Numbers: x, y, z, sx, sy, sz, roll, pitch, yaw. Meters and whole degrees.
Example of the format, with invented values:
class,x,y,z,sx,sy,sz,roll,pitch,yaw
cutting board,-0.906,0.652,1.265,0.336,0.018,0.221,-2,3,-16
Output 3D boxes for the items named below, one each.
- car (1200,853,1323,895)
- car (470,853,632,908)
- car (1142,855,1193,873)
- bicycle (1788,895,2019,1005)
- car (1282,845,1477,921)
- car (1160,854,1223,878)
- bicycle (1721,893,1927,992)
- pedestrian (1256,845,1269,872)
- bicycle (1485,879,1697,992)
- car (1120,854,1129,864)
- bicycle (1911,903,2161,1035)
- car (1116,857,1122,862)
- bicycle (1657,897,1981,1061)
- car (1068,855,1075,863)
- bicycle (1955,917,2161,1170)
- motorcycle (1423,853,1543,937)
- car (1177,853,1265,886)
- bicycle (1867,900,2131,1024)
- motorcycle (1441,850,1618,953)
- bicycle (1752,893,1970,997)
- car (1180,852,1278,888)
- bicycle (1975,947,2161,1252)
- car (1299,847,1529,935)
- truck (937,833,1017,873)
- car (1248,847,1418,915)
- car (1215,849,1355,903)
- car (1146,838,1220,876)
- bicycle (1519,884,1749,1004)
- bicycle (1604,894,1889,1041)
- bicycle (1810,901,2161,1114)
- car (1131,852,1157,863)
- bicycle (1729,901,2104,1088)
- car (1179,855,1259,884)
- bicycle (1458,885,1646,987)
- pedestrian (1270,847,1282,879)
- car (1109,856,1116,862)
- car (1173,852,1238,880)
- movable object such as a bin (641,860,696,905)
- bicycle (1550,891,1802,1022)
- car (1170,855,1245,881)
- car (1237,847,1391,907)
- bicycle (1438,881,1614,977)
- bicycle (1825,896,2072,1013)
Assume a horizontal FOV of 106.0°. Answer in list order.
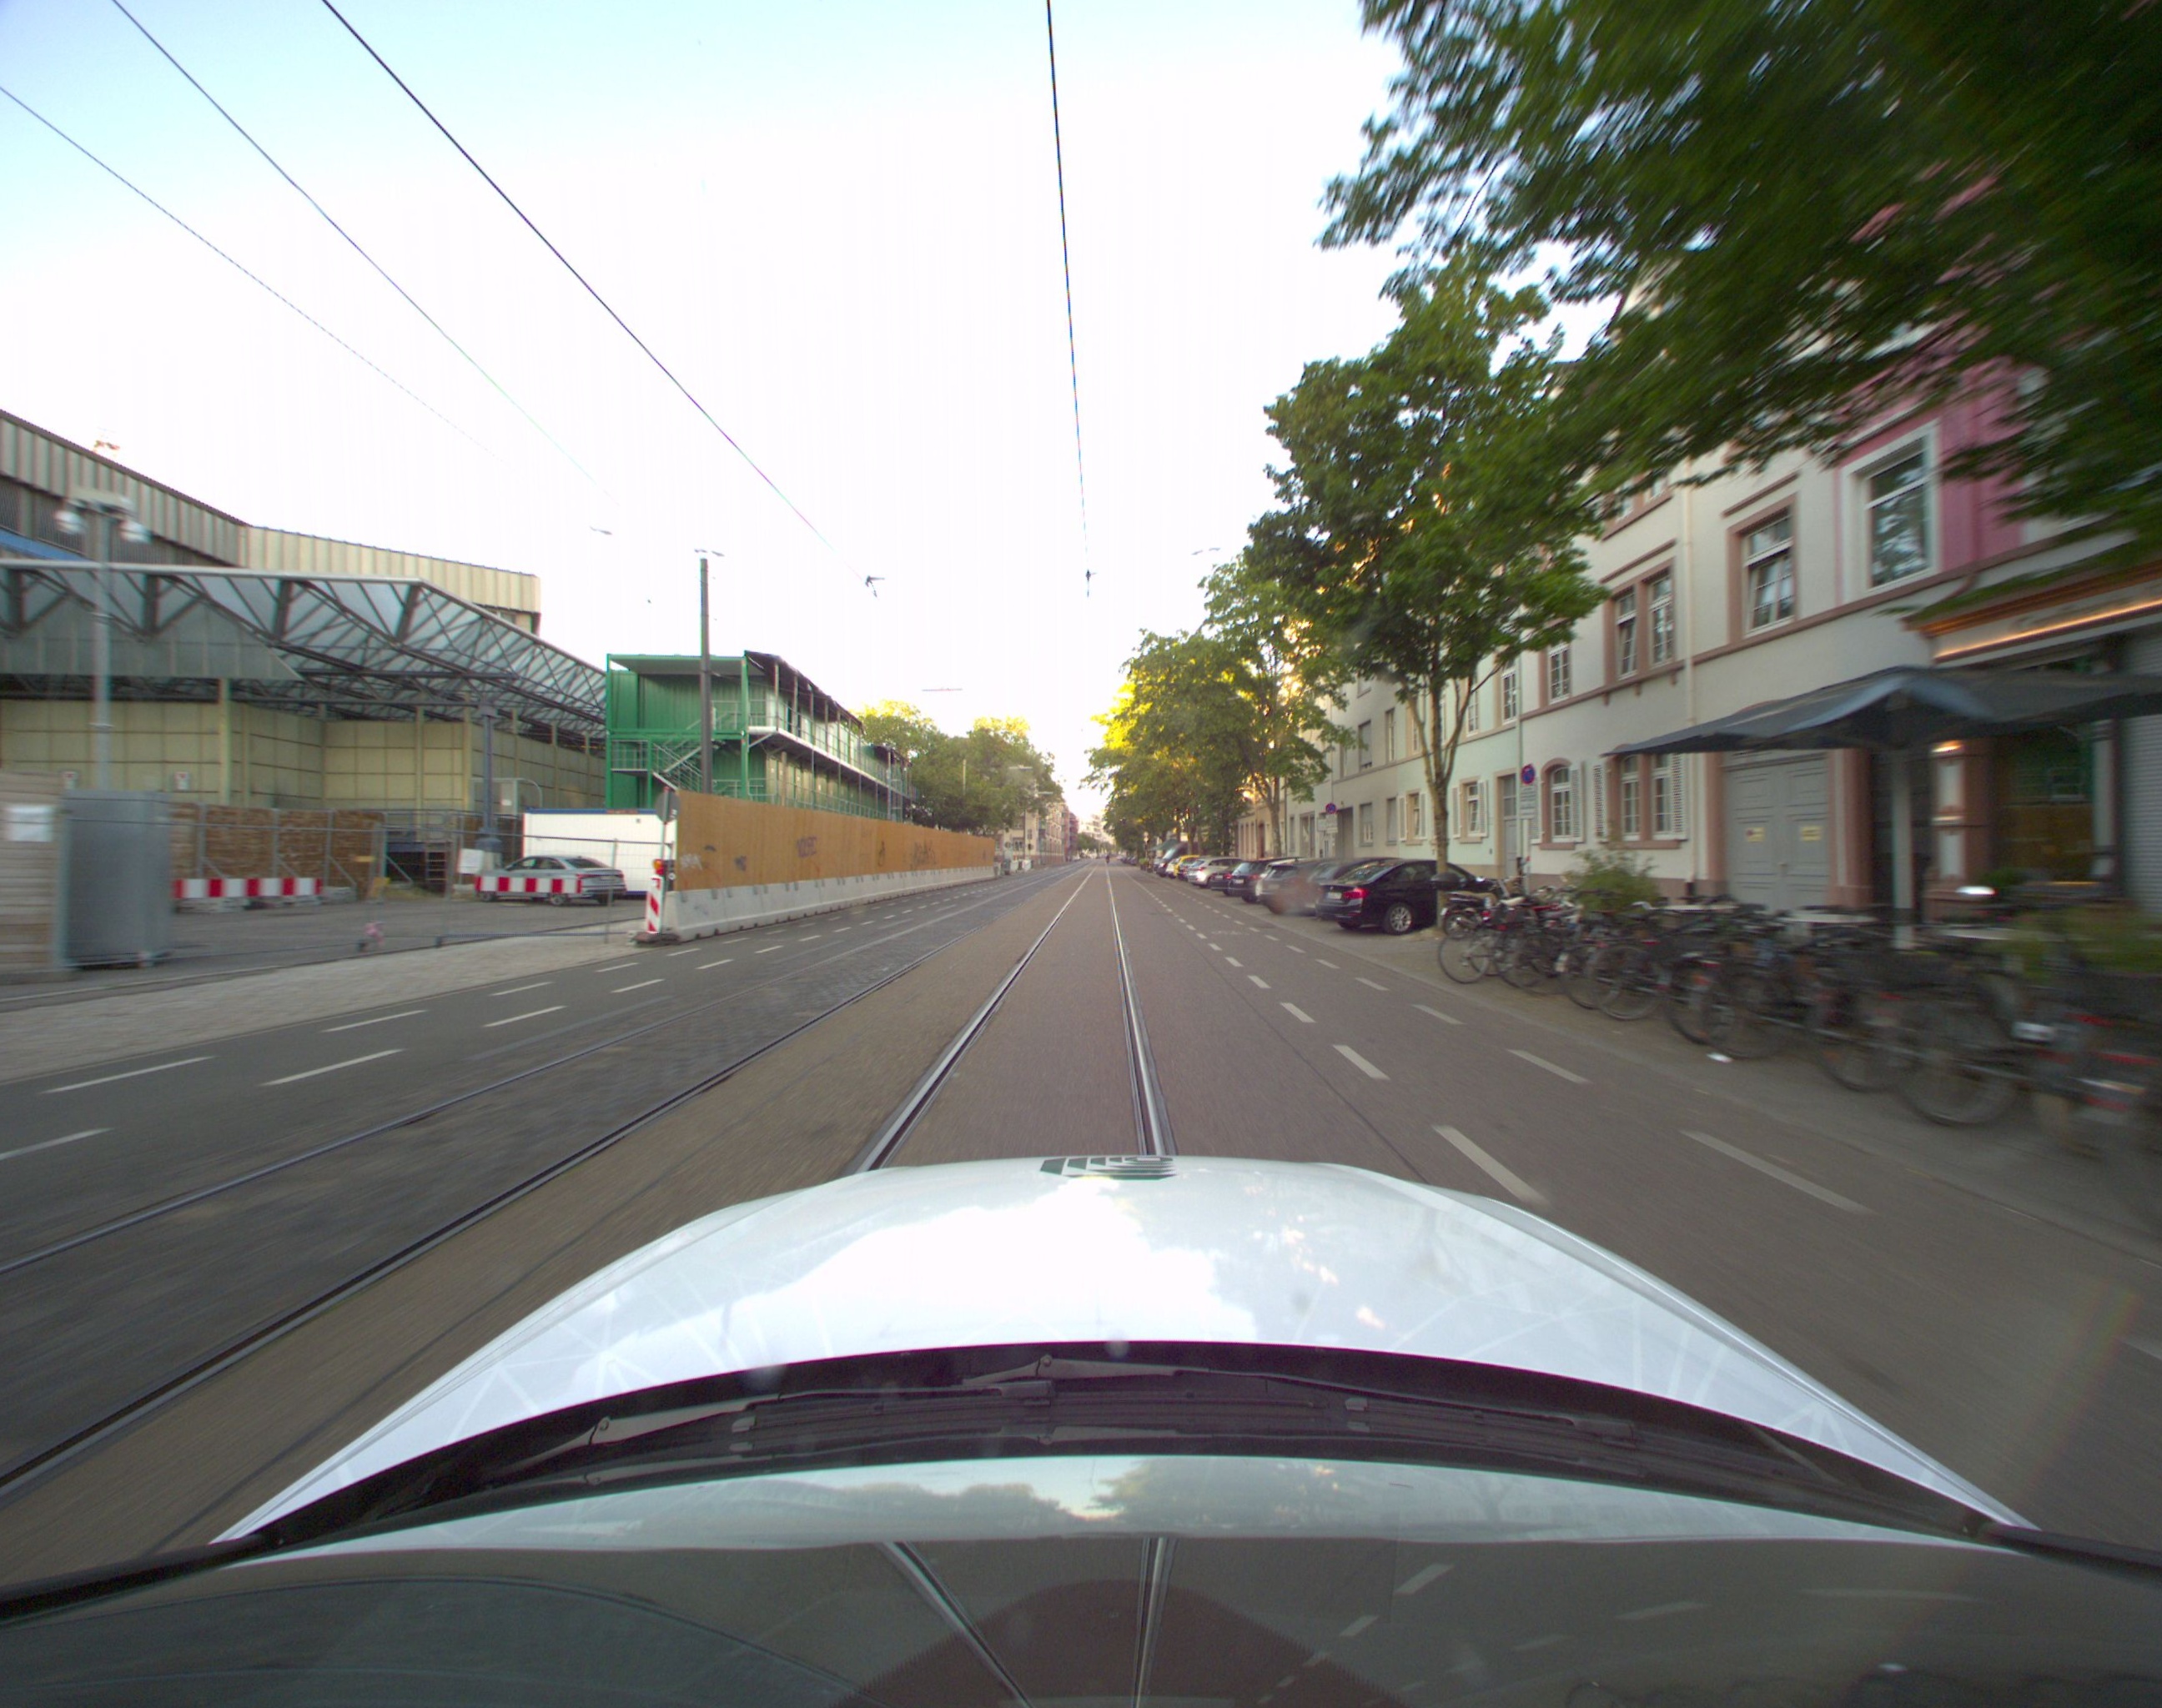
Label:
class,x,y,z,sx,sy,sz,roll,pitch,yaw
car,7.028,0.755,31.745,4.268,1.392,2.001,-2,0,-22
car,-15.412,0.736,23.725,3.965,1.402,1.743,2,0,16
car,7.908,0.937,74.817,4.193,1.498,1.993,-1,-1,-23
bicycle,7.675,0.887,7.620,1.810,0.872,0.325,-4,0,-1
car,7.156,0.663,19.664,3.956,1.470,1.991,-4,0,-15
car,7.735,0.836,56.970,3.967,1.486,1.906,-2,-1,-23
bicycle,7.683,0.909,8.443,1.810,0.872,0.325,-4,0,-1
pedestrian,10.449,0.263,46.894,0.536,1.568,0.814,-1,-1,4
bicycle,5.617,0.883,9.042,1.881,1.067,0.674,-4,0,-1
car,8.770,0.973,162.695,1.715,2.014,4.001,0,0,2
bicycle,7.618,0.892,6.410,1.810,0.872,0.325,-4,0,-1
car,12.106,1.770,259.558,1.956,1.718,4.001,0,0,2
bicycle,5.584,0.924,6.228,1.881,1.031,0.608,-4,0,-1
car,-2.639,1.343,234.335,1.891,2.178,4.001,0,0,2
bicycle,5.570,0.864,4.024,1.810,1.031,0.608,-4,0,-1
motorcycle,6.998,0.704,14.217,1.780,1.344,0.533,-3,0,-1
car,7.508,0.827,43.712,4.267,1.560,1.884,-2,-1,-22
bicycle,7.634,0.888,6.794,1.810,0.872,0.325,-4,0,-1
motorcycle,7.055,0.720,12.898,2.215,1.461,0.967,-3,0,-1
bicycle,7.692,0.890,8.049,1.810,0.872,0.325,-4,0,-1
car,7.188,0.775,39.736,4.250,1.549,2.013,-2,0,-10
bicycle,4.850,0.930,3.360,1.673,1.031,0.557,-4,0,-1
car,6.869,0.698,16.884,4.173,1.426,1.812,-4,0,-18
truck,-9.554,-0.095,75.249,7.039,3.480,2.539,1,0,-2
car,6.816,0.689,22.054,4.132,1.470,1.810,-4,0,-21
car,6.815,0.701,27.257,4.134,1.470,2.000,-4,0,-23
car,7.715,0.200,61.682,5.105,2.642,2.011,-2,-1,-16
bicycle,5.598,0.894,8.302,1.881,1.031,0.608,-4,0,-1
bicycle,5.598,0.934,6.914,1.881,1.031,0.608,-4,0,-1
bicycle,5.598,0.878,4.875,1.881,1.031,0.608,-4,0,-1
car,9.556,0.548,124.058,3.872,1.592,1.862,0,0,2
bicycle,5.594,0.916,5.522,1.881,1.031,0.608,-4,0,-1
car,7.905,0.886,46.560,4.140,1.425,1.882,-2,-1,-24
bicycle,5.595,0.956,9.726,1.858,1.031,0.591,-4,0,-1
pedestrian,11.106,0.498,46.425,0.563,1.814,0.607,-1,-1,4
car,9.666,1.567,248.951,1.891,2.014,4.001,0,0,2
car,8.090,0.767,53.256,3.935,1.620,1.922,-2,-1,2
movable object such as a bin,-13.018,0.887,25.724,1.303,1.369,0.783,0,0,-2
bicycle,5.559,0.940,7.669,1.881,1.031,0.608,-4,0,-1
car,7.732,0.863,49.823,4.140,1.425,1.905,-2,-1,-24
car,7.047,0.667,24.658,4.134,1.470,1.972,-4,0,-23
bicycle,5.614,0.935,10.323,1.897,1.031,0.533,-4,0,-1
bicycle,7.646,0.874,7.199,1.810,0.872,0.325,-4,0,-1
